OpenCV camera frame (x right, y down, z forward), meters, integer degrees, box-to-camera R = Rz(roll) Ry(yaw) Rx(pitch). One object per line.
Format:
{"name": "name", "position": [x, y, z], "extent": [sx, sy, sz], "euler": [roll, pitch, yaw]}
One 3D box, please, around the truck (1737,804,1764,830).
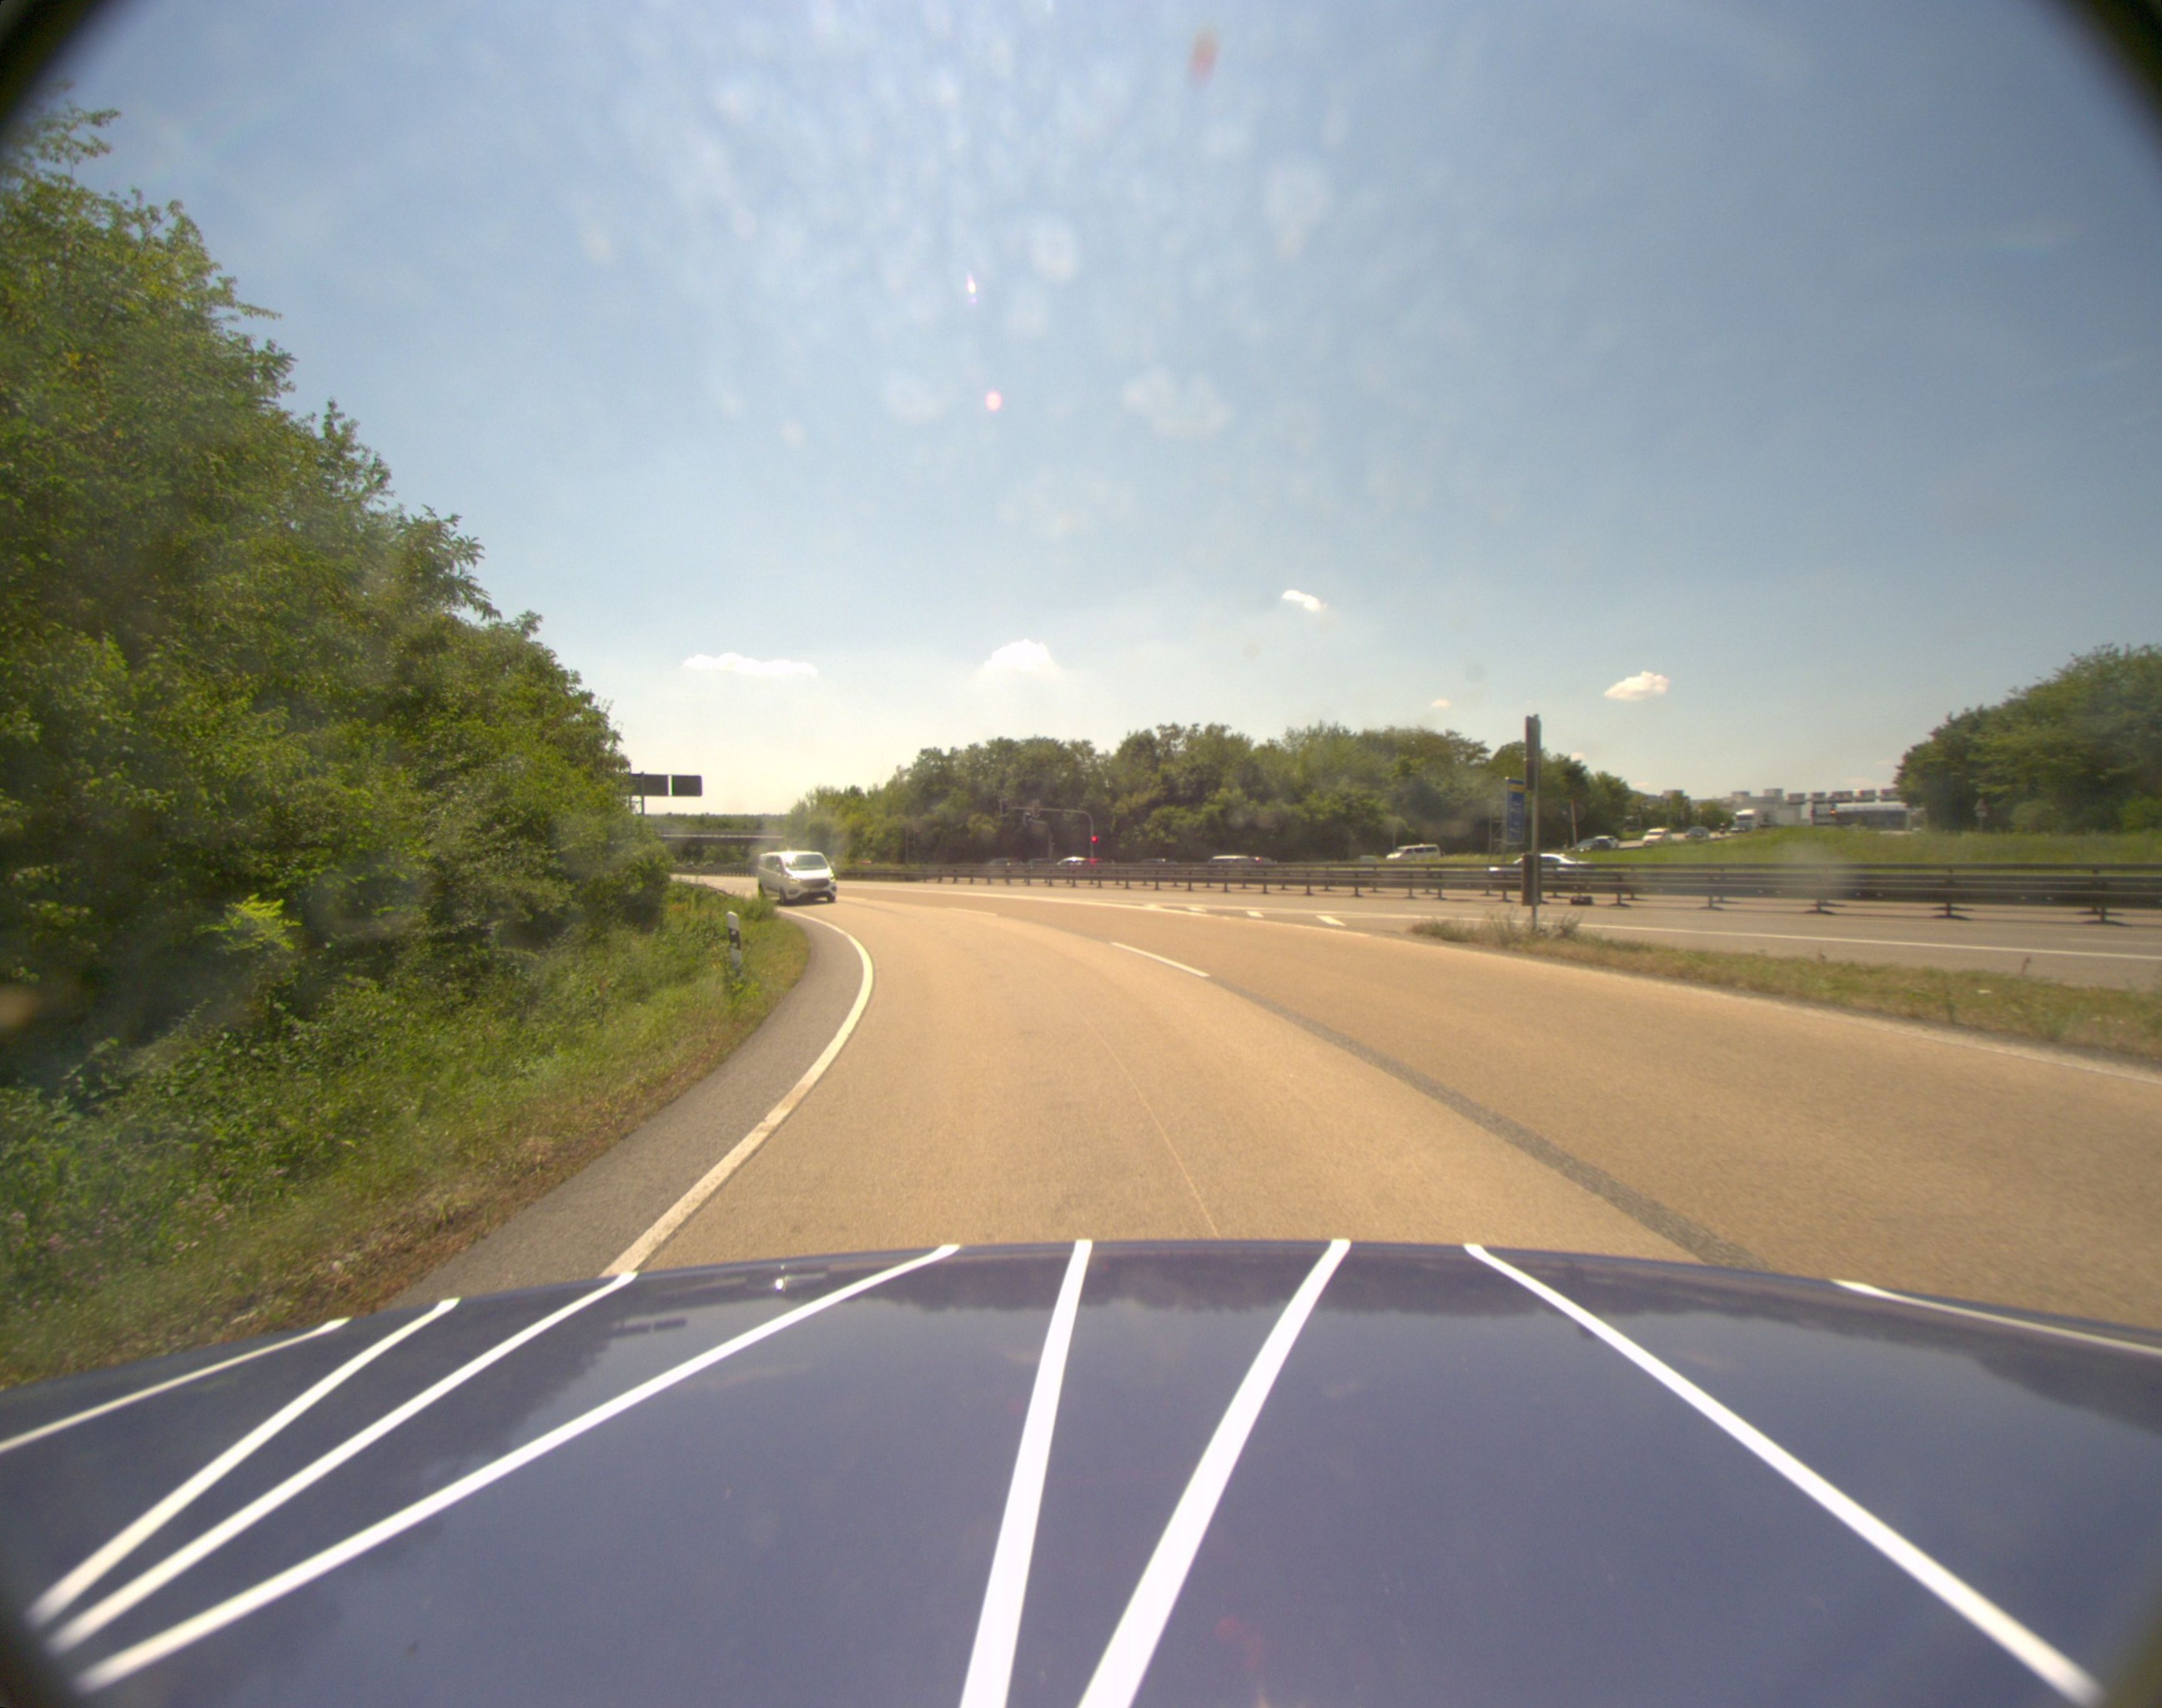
{"name": "truck", "position": [112.916, -6.205, 128.143], "extent": [4.007, 4.134, 2.824], "euler": [-2, 1, -39]}

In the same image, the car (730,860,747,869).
{"name": "car", "position": [-62.161, 1.983, 137.832], "extent": [1.722, 1.559, 3.989], "euler": [-2, 1, -39]}

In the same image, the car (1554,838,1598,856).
{"name": "car", "position": [48.729, -0.693, 74.825], "extent": [4.223, 1.698, 1.995], "euler": [-2, 1, -31]}

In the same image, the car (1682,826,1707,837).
{"name": "car", "position": [81.866, -2.993, 101.402], "extent": [3.757, 1.424, 1.596], "euler": [0, 0, -36]}

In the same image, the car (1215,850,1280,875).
{"name": "car", "position": [9.913, 0.513, 45.516], "extent": [1.490, 1.441, 3.657], "euler": [-2, 1, -39]}

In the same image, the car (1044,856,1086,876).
{"name": "car", "position": [-1.125, 0.845, 52.813], "extent": [1.347, 1.341, 3.008], "euler": [-2, 1, -39]}

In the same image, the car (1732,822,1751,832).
{"name": "car", "position": [98.955, -4.075, 113.819], "extent": [3.577, 1.424, 1.596], "euler": [0, 0, -40]}

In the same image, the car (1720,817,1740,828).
{"name": "car", "position": [94.363, -4.560, 110.439], "extent": [3.577, 1.424, 1.596], "euler": [0, 0, -40]}

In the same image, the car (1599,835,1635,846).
{"name": "car", "position": [59.128, -1.464, 83.794], "extent": [3.880, 1.159, 1.529], "euler": [-1, 0, -25]}

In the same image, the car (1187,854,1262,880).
{"name": "car", "position": [7.757, 0.695, 41.385], "extent": [1.522, 1.340, 3.911], "euler": [-2, 1, -39]}

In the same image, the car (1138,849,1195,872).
{"name": "car", "position": [5.615, 0.431, 50.121], "extent": [1.657, 1.385, 3.562], "euler": [-2, 1, -39]}

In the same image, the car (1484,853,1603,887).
{"name": "car", "position": [21.870, 0.726, 36.077], "extent": [1.707, 1.476, 4.523], "euler": [-2, 1, -40]}

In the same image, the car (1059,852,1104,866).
{"name": "car", "position": [0.084, 0.467, 70.962], "extent": [3.940, 1.215, 1.710], "euler": [-1, 1, 8]}

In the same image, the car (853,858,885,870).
{"name": "car", "position": [-22.367, 1.069, 80.176], "extent": [3.360, 1.215, 1.713], "euler": [-1, 1, 43]}

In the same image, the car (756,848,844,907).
{"name": "car", "position": [-11.313, 0.870, 30.320], "extent": [2.067, 2.002, 5.028], "euler": [-5, 2, -34]}

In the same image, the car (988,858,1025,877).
{"name": "car", "position": [-5.051, 0.887, 51.288], "extent": [1.159, 1.229, 2.720], "euler": [-2, 1, -39]}

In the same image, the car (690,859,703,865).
{"name": "car", "position": [-98.508, 2.002, 194.453], "extent": [2.137, 1.502, 4.461], "euler": [-2, 1, -37]}

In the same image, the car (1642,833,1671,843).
{"name": "car", "position": [68.448, -1.866, 90.391], "extent": [4.083, 1.159, 1.529], "euler": [-1, 0, -35]}

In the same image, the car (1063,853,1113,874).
{"name": "car", "position": [0.468, 0.717, 56.343], "extent": [1.570, 1.441, 3.694], "euler": [-2, 1, -43]}

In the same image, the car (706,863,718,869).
{"name": "car", "position": [-83.543, 2.696, 171.966], "extent": [1.657, 1.402, 4.461], "euler": [-2, 1, -36]}

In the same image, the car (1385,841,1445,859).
{"name": "car", "position": [32.092, -0.340, 73.016], "extent": [5.114, 1.631, 2.016], "euler": [-1, 0, -12]}
